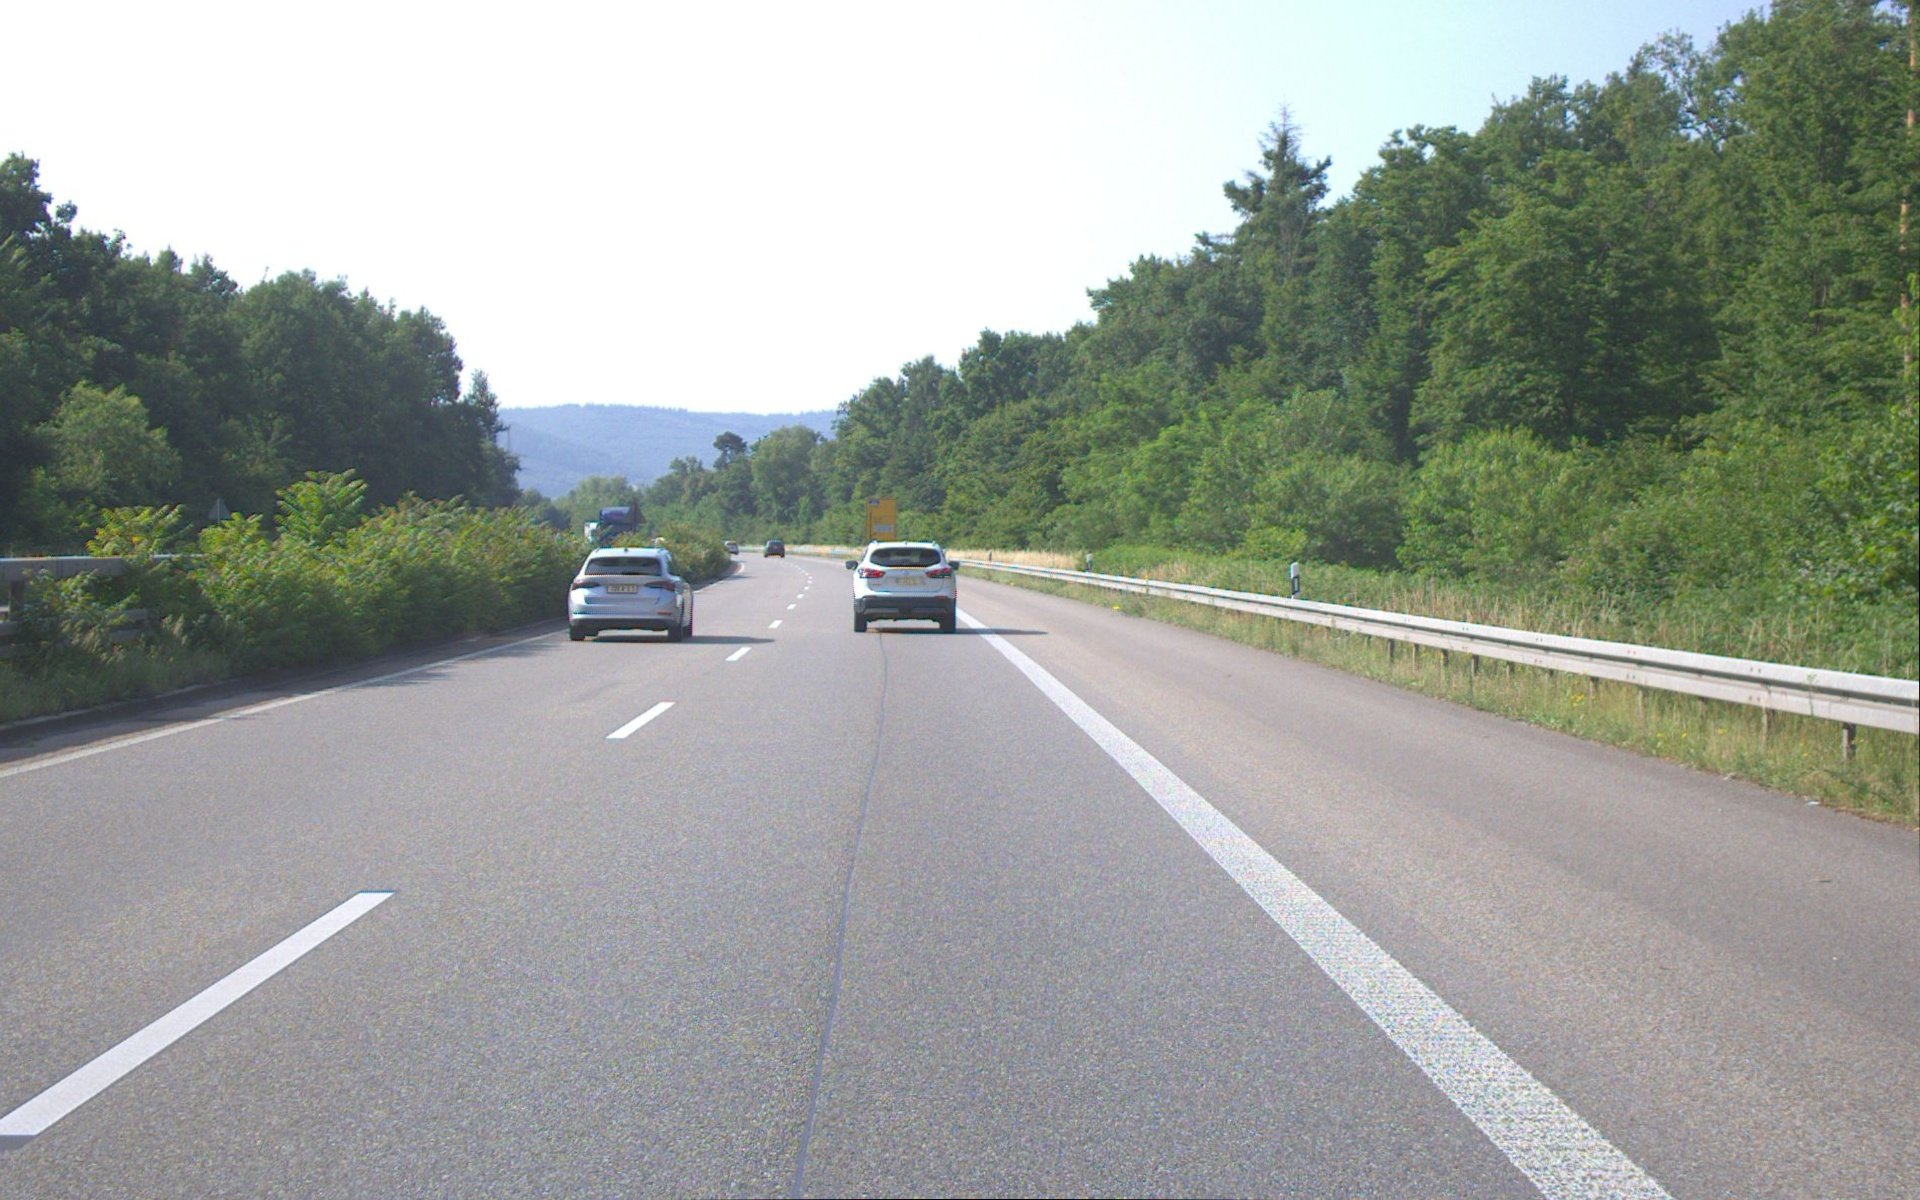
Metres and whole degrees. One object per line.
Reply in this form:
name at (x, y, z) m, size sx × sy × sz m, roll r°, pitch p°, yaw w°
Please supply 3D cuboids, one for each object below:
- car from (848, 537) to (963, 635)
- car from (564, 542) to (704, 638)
car at (-1.004, -0.273, 60.913) m, size 1.873 × 1.580 × 4.001 m, roll 2°, pitch 1°, yaw -2°
car at (-5.174, -0.201, 55.117) m, size 1.792 × 1.433 × 5.279 m, roll 0°, pitch 1°, yaw 0°
